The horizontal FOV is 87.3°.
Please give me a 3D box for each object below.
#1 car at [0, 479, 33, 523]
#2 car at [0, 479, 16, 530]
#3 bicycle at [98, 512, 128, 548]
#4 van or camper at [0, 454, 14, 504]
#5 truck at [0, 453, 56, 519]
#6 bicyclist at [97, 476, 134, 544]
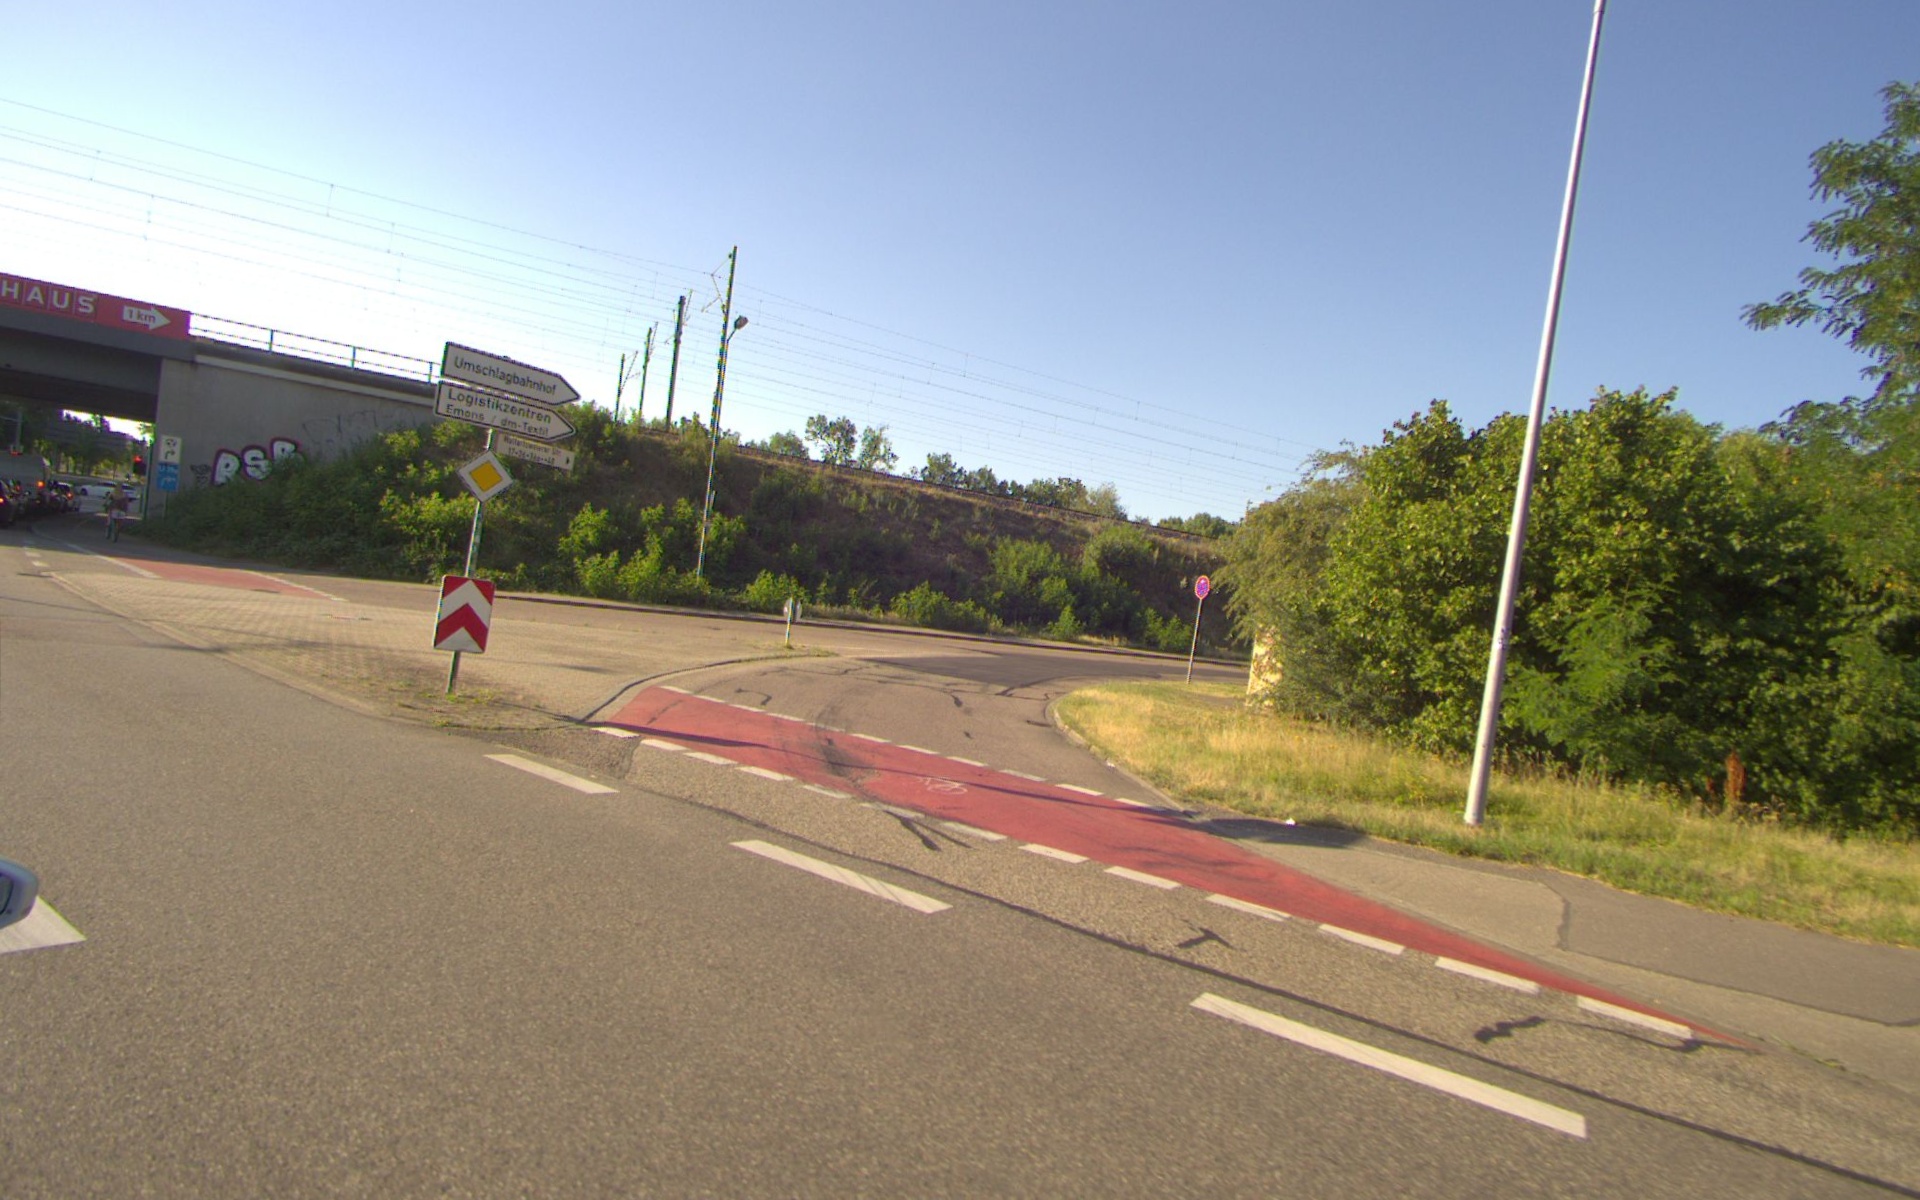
[{"bbox_3d":[-36.239,-3.788,37.754,1.764,1.514,3.791,6,0,-39],"label":"car"},{"bbox_3d":[-31.242,-3.165,31.789,1.734,1.472,4.551,8,0,-41],"label":"car"},{"bbox_3d":[-25.546,-2.126,30.322,0.576,0.975,2.853,7,0,-41],"label":"bicycle"},{"bbox_3d":[-51.801,-6.561,52.806,1.981,2.602,5.863,7,-1,-34],"label":"van or camper"},{"bbox_3d":[-40.772,-4.919,43.522,2.101,2.552,4.352,5,1,-40],"label":"truck"},{"bbox_3d":[-25.555,-2.724,30.434,0.679,1.930,0.824,7,0,-41],"label":"bicyclist"}]
